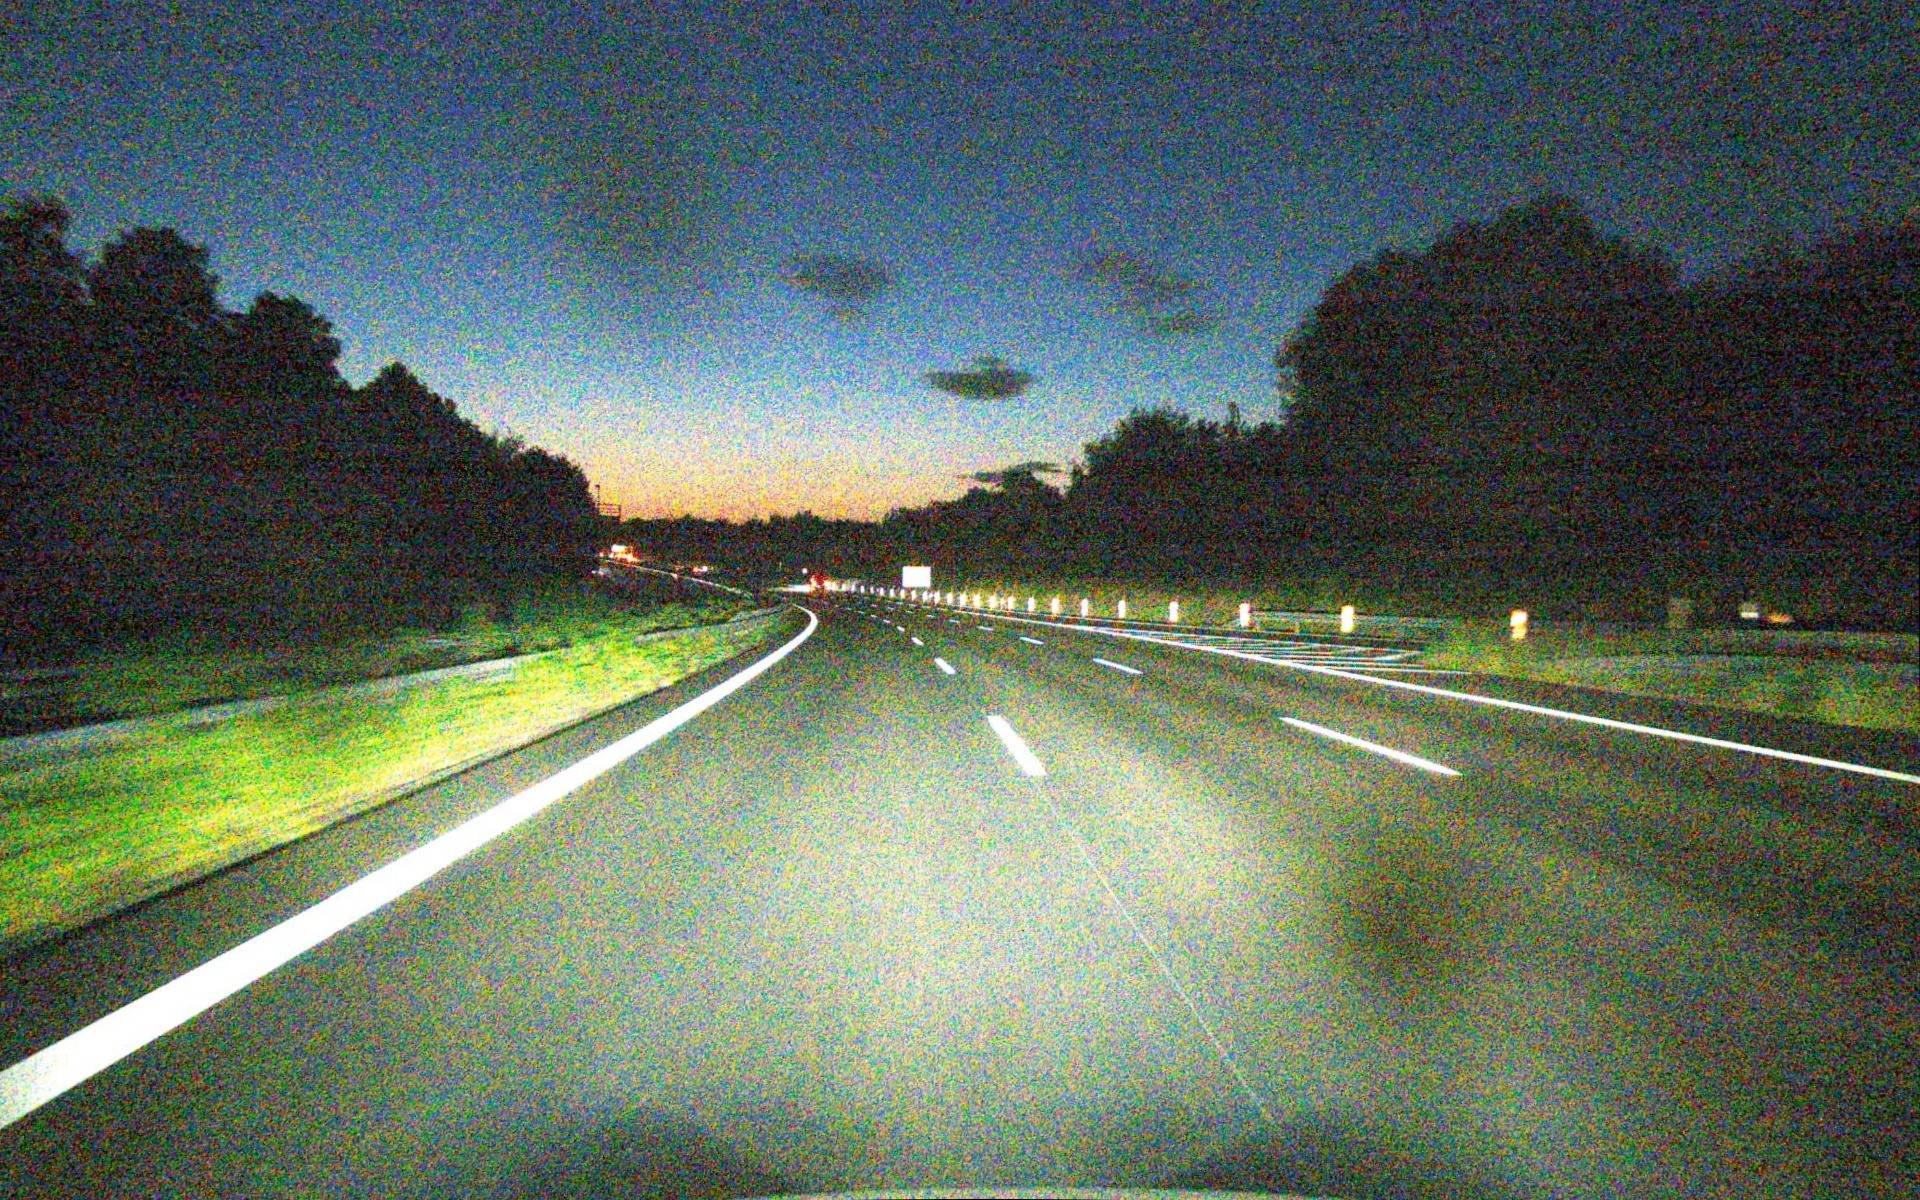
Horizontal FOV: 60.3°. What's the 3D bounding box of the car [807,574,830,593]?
[{"bbox_3d":[-21.211,-2.509,247.643,2.485,2.597,6.029,2,1,-14],"label":"car"}]
